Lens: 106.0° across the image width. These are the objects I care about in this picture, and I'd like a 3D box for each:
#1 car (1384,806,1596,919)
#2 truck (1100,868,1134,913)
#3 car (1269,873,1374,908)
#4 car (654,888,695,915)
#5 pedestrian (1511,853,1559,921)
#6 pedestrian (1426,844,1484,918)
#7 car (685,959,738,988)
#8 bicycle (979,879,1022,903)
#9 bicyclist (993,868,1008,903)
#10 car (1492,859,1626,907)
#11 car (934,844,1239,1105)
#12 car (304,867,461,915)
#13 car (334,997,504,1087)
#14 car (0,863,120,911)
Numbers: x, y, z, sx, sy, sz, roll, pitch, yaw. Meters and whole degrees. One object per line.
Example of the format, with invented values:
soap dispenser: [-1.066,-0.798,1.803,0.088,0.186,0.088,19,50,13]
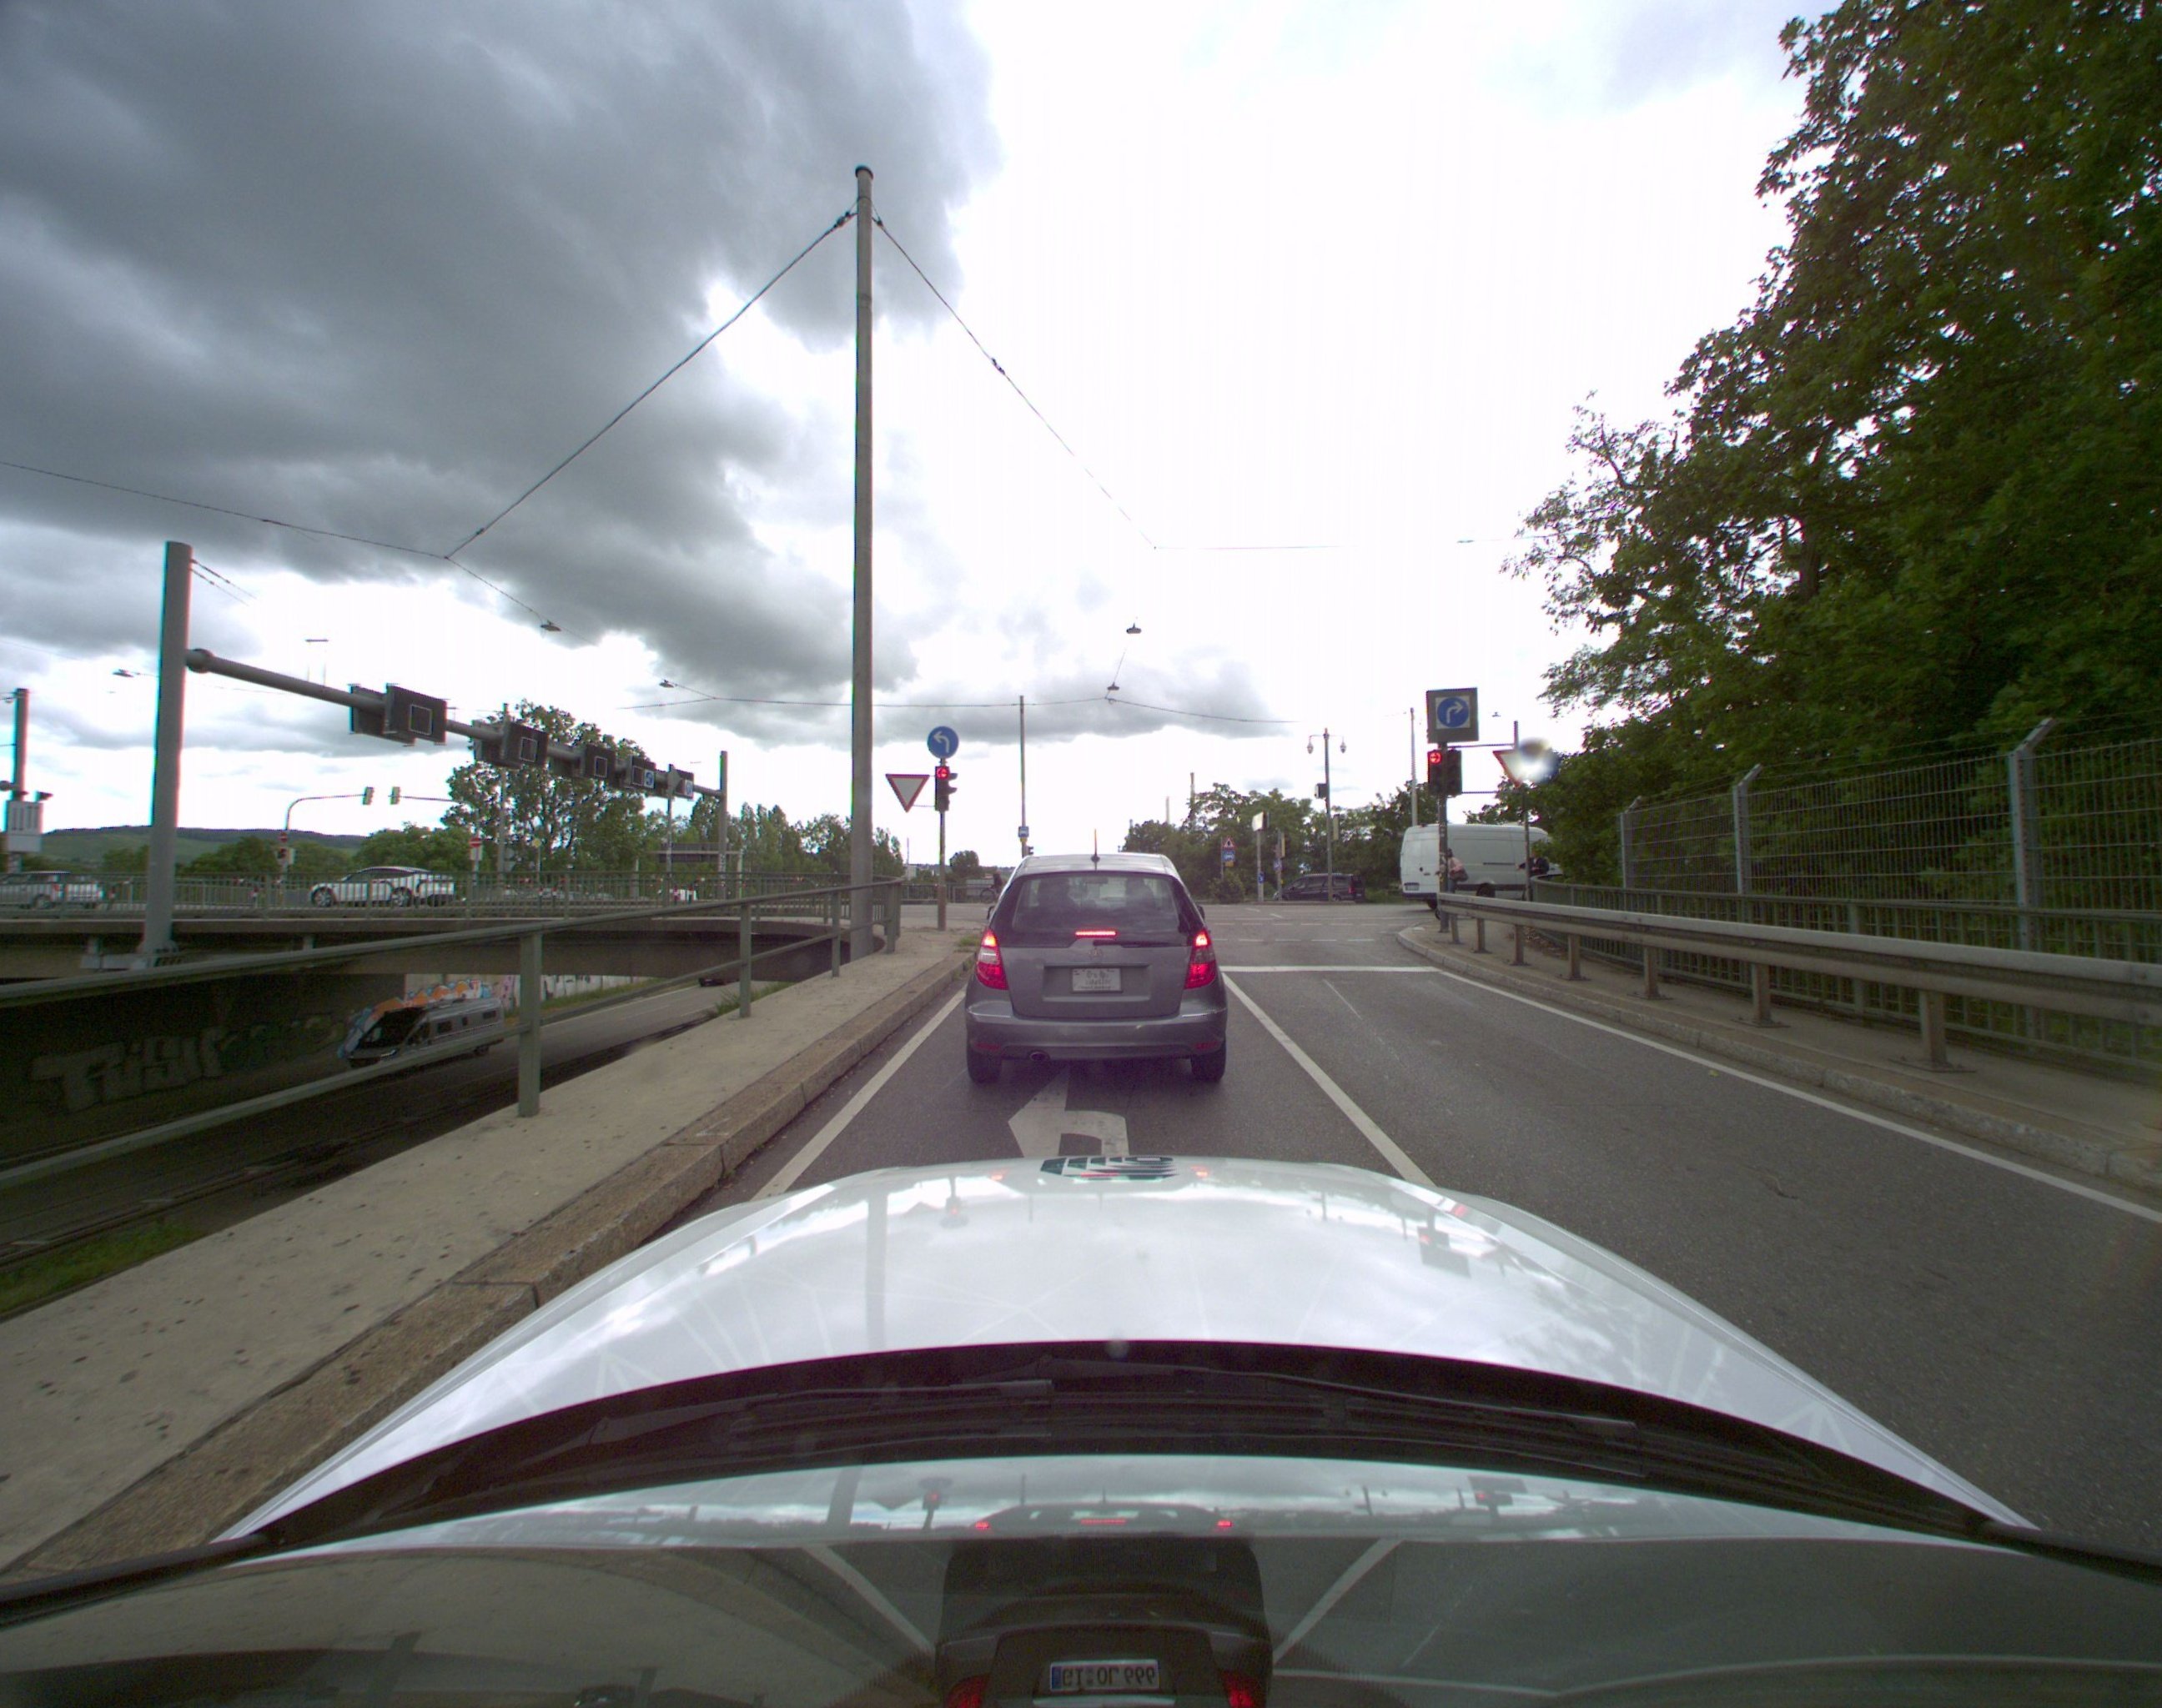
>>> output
car: [13.092,0.225,25.927,6.796,2.783,2.098,-6,-3,-27]
truck: [3.142,3.163,73.242,2.779,3.518,10.252,-1,0,2]
car: [13.371,1.992,45.454,5.172,1.771,2.018,-1,0,39]
car: [-36.326,4.209,72.878,1.850,2.215,3.660,-1,0,-3]
pedestrian: [11.120,0.788,19.957,0.680,1.619,0.776,-1,0,-35]
pedestrian: [8.759,0.642,19.132,0.830,1.678,0.978,-1,-3,-1]
car: [-29.187,9.447,64.520,1.986,1.751,4.591,-1,-2,2]
bicycle: [-3.984,1.826,40.275,2.032,1.124,0.926,-1,0,-10]
bicyclist: [-3.978,1.541,40.289,0.653,1.673,0.867,-1,0,-9]
car: [17.983,1.067,30.796,3.969,1.665,1.815,-1,0,4]
car: [0.171,0.729,7.012,1.849,1.588,4.005,-1,1,4]
car: [-27.557,1.421,32.238,4.381,1.717,1.936,-1,0,-3]
car: [-27.705,7.793,34.497,2.077,2.535,6.325,-2,-2,-1]
car: [-40.167,1.241,31.285,3.979,1.717,1.935,-1,0,-4]
